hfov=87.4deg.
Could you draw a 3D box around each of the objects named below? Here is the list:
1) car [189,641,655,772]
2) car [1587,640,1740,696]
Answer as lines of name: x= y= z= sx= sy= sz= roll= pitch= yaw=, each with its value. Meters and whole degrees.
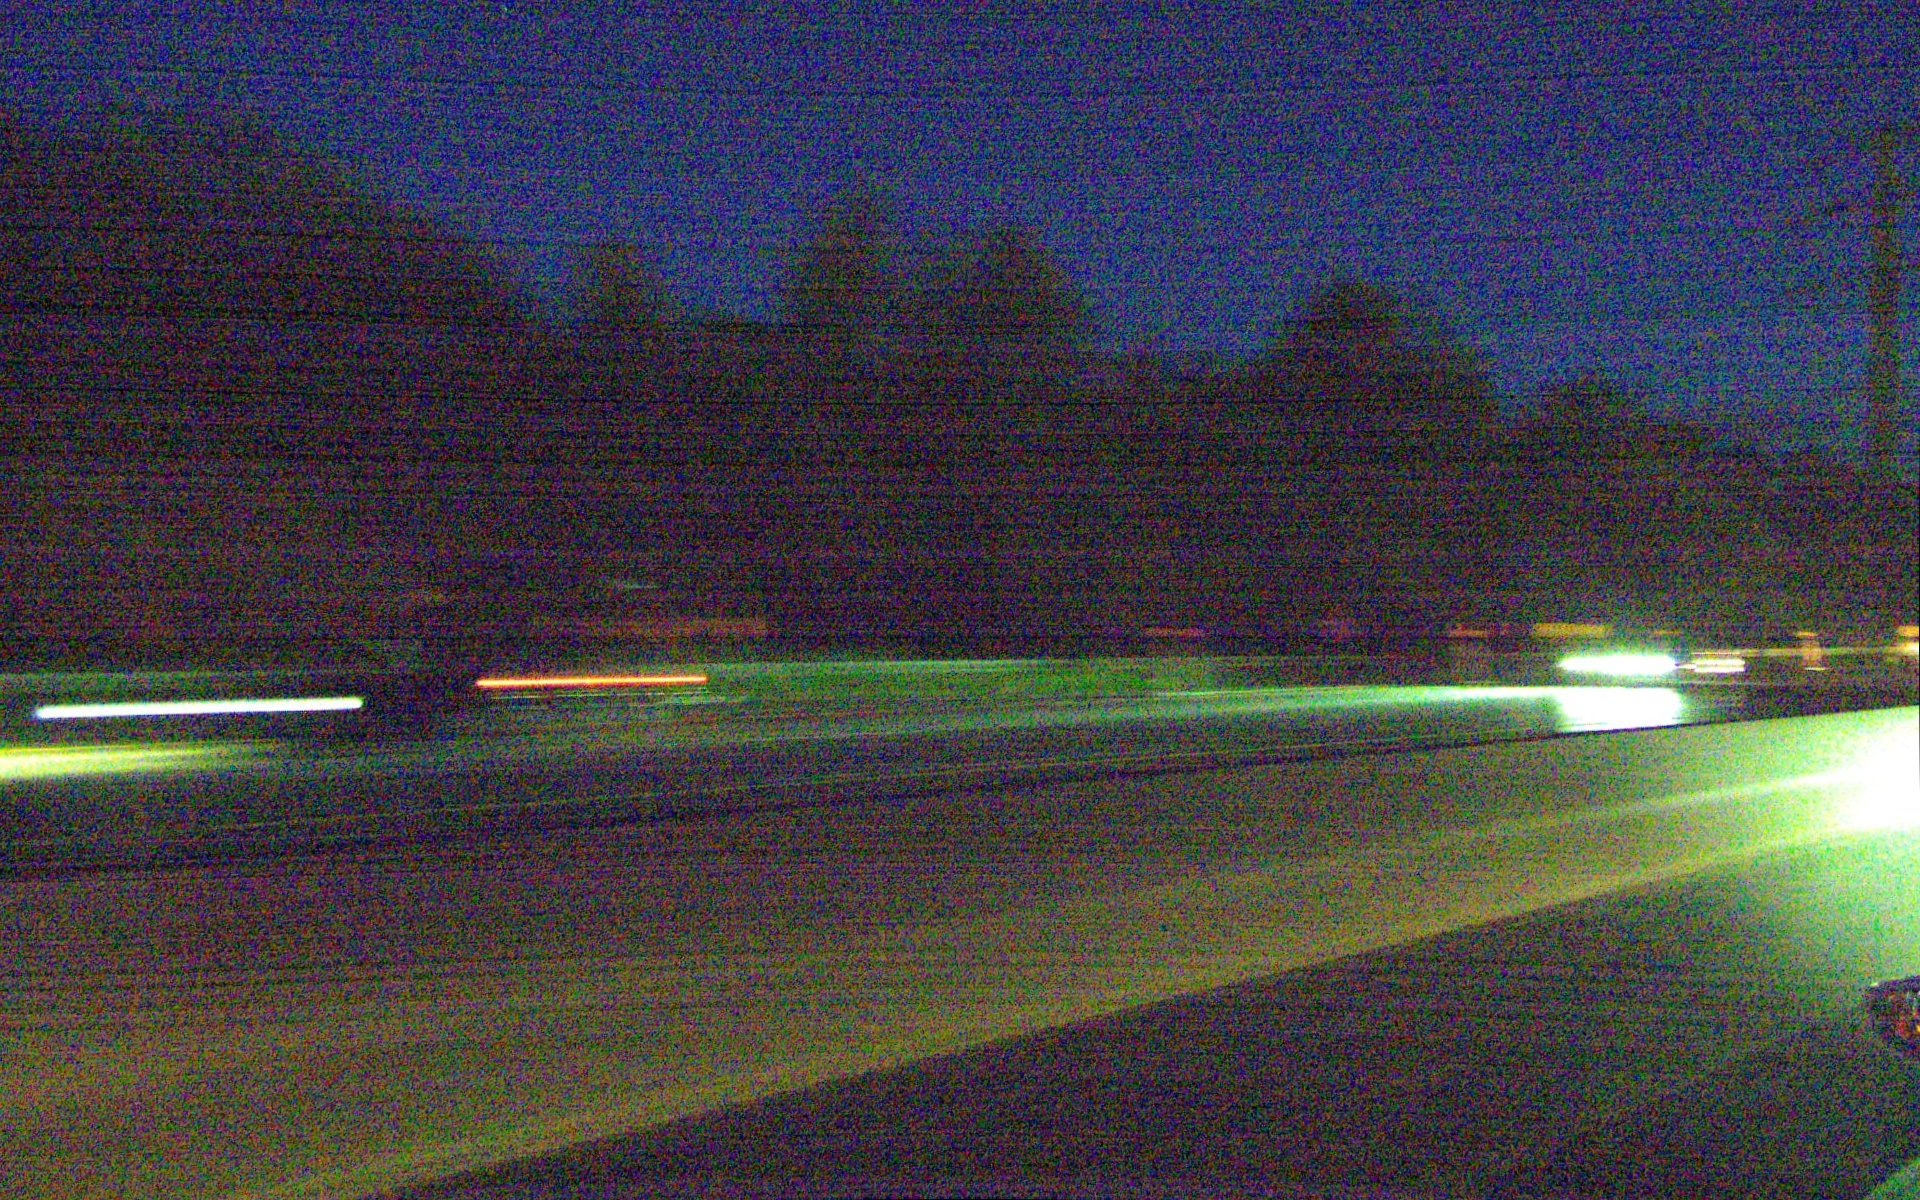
car: x=-6.364 y=1.193 z=12.392 sx=4.752 sy=1.351 sz=1.655 roll=1 pitch=-3 yaw=-30
car: x=19.098 y=1.785 z=27.202 sx=4.823 sy=1.412 sz=1.623 roll=1 pitch=-3 yaw=-32
